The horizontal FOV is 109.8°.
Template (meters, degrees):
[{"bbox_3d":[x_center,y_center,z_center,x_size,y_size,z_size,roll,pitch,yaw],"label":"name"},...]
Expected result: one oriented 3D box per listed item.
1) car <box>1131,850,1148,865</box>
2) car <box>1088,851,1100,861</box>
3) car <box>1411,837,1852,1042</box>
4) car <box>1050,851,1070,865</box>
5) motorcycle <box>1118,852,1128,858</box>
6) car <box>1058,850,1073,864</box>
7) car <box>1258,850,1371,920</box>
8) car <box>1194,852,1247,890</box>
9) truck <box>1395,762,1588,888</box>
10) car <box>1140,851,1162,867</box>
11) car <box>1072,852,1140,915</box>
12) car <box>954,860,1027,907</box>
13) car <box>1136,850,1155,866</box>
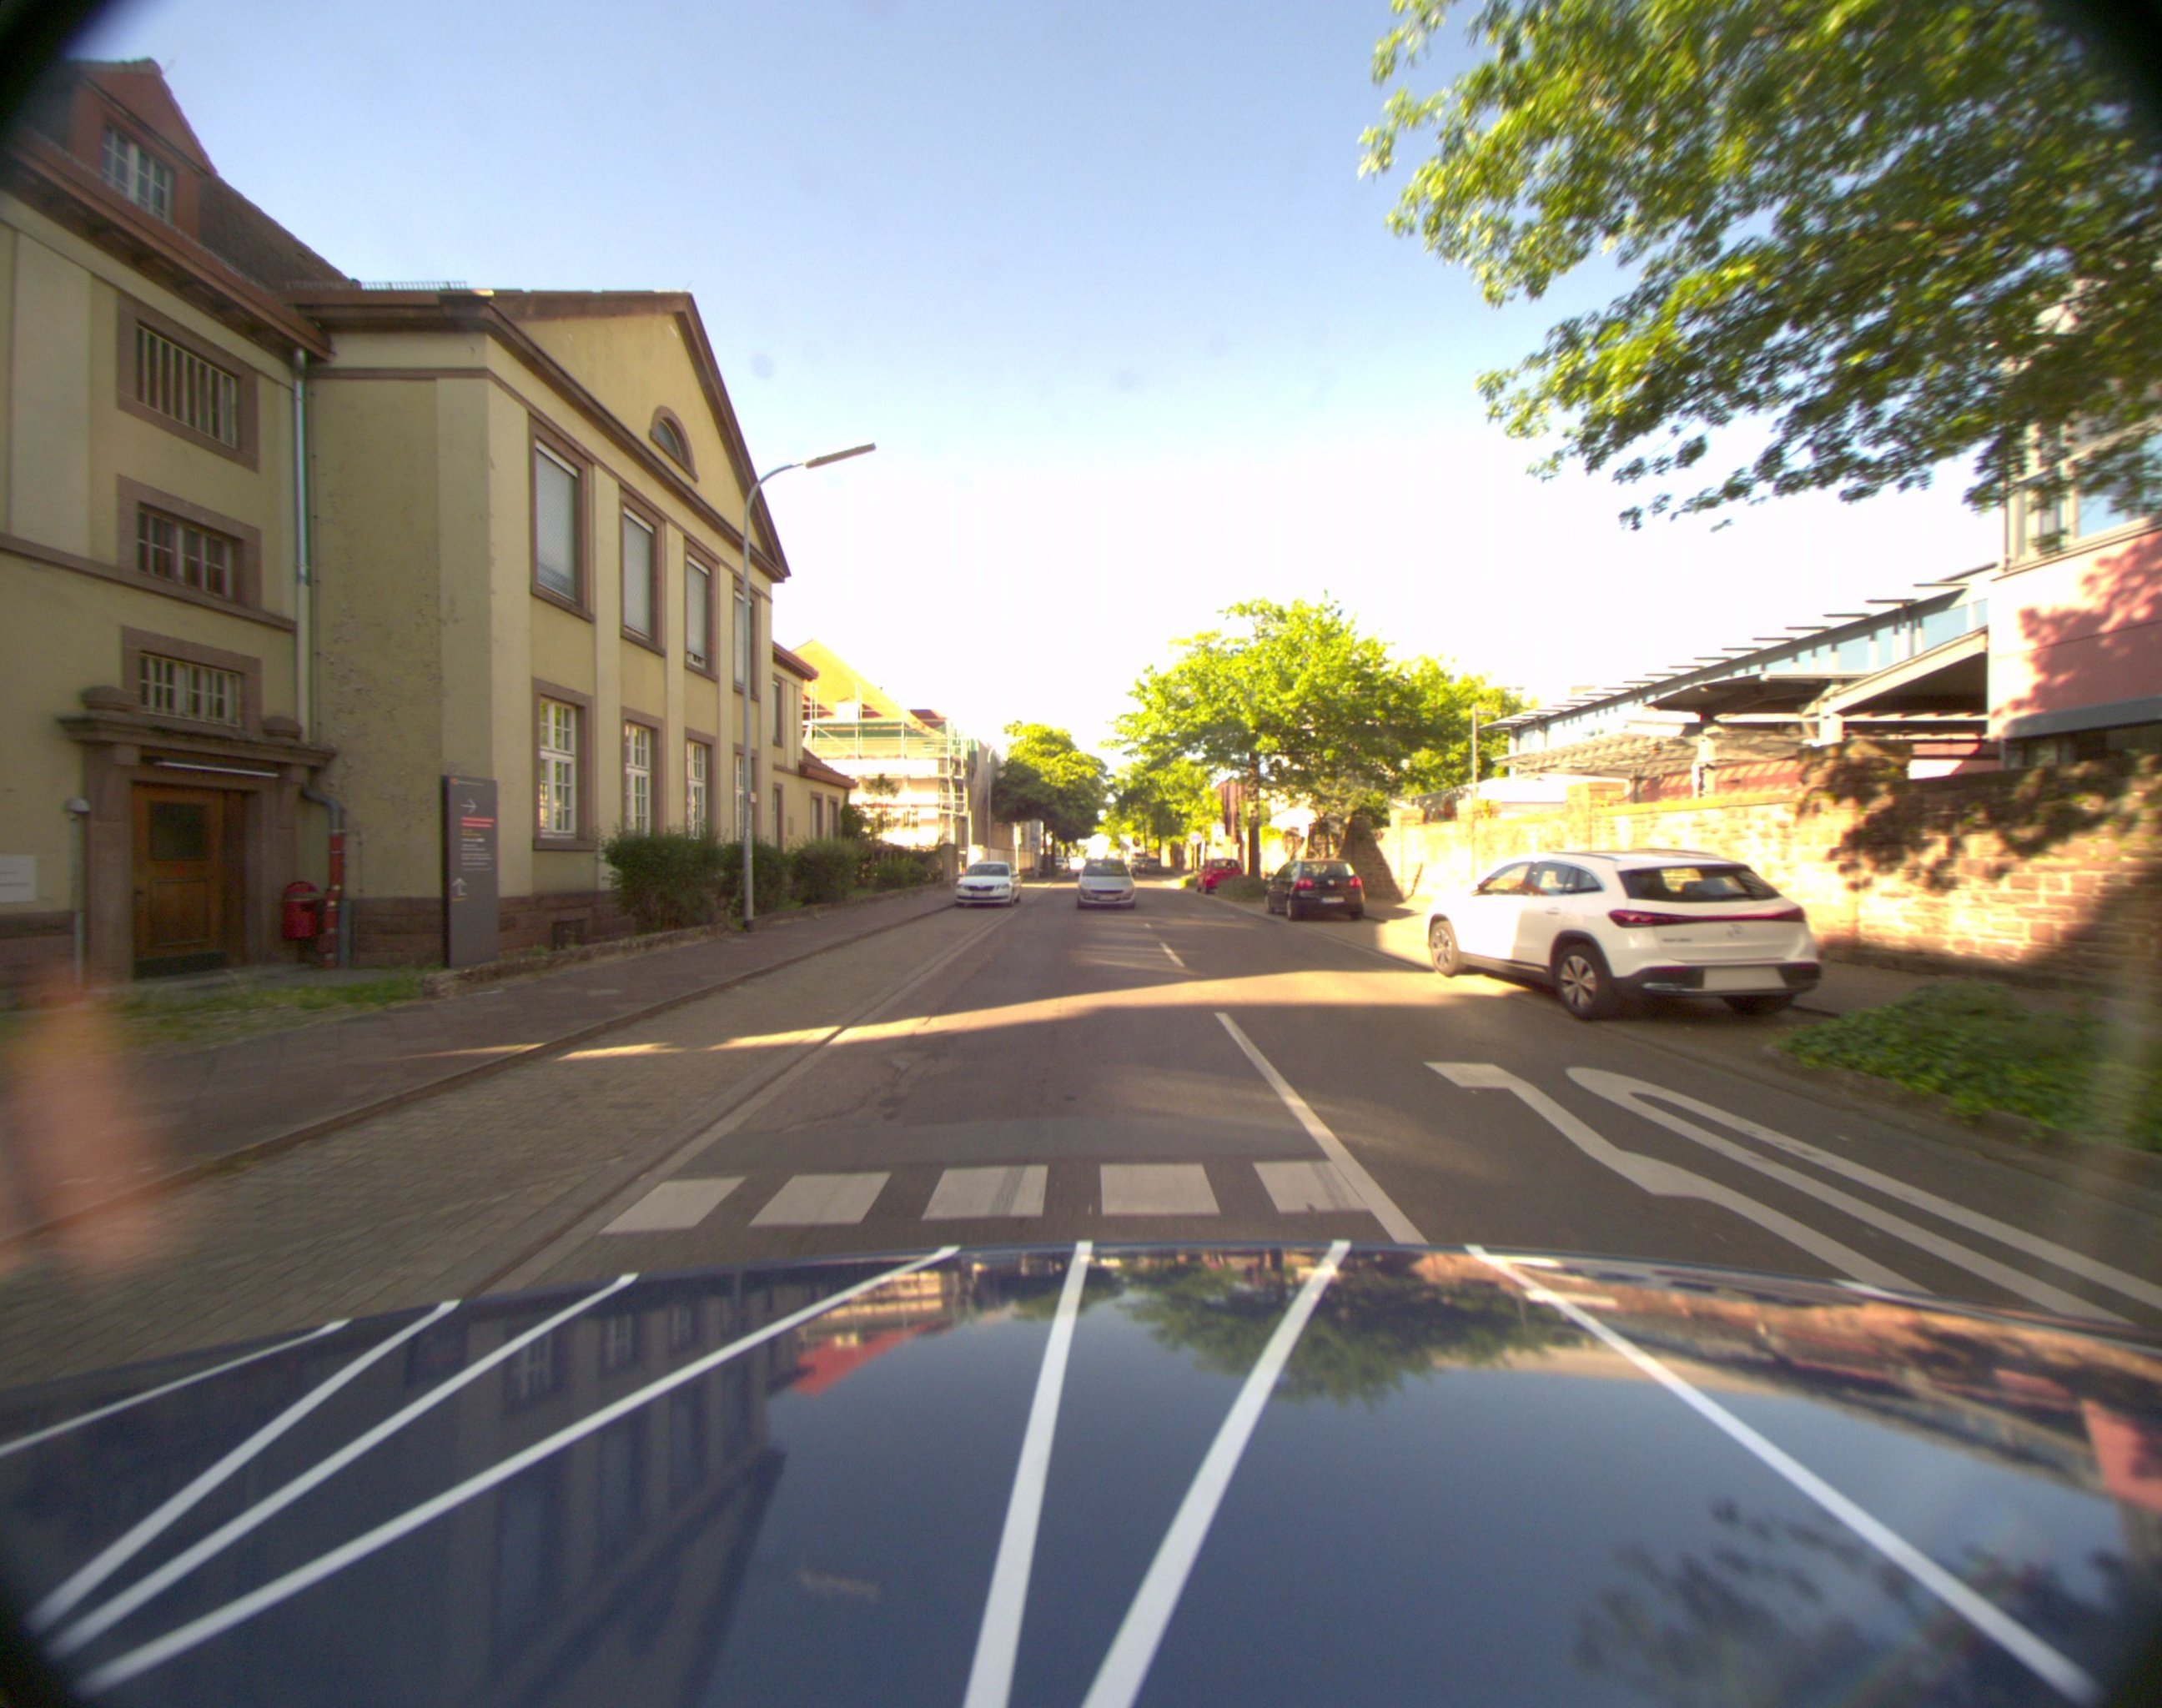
[{"bbox_3d":[6.784,0.392,88.225,1.681,1.502,3.851,-4,-2,1],"label":"car"},{"bbox_3d":[2.299,0.354,134.821,1.834,1.732,3.999,-2,1,-1],"label":"car"},{"bbox_3d":[5.493,0.692,8.453,1.724,1.674,4.350,-1,0,-1],"label":"car"},{"bbox_3d":[-2.207,0.427,81.327,1.727,1.501,3.993,1,0,4],"label":"car"},{"bbox_3d":[7.442,0.158,134.795,0.599,1.026,2.132,-1,0,35],"label":"motorcycle"},{"bbox_3d":[-1.830,0.294,90.716,1.716,1.629,4.302,-1,0,-1],"label":"car"},{"bbox_3d":[5.820,0.701,19.431,1.741,1.583,4.107,-1,0,2],"label":"car"},{"bbox_3d":[5.921,0.678,32.539,1.613,1.450,3.708,-2,1,1],"label":"car"},{"bbox_3d":[14.003,-0.907,26.792,2.739,3.690,7.427,-2,1,0],"label":"truck"},{"bbox_3d":[6.562,0.456,71.169,1.691,1.413,3.838,-2,1,1],"label":"car"},{"bbox_3d":[0.744,0.783,22.450,1.747,1.613,4.106,-2,1,2],"label":"car"},{"bbox_3d":[-2.882,0.910,25.088,1.837,1.315,4.495,0,1,0],"label":"car"},{"bbox_3d":[6.431,0.358,76.085,1.577,1.506,4.044,-1,0,0],"label":"car"}]
